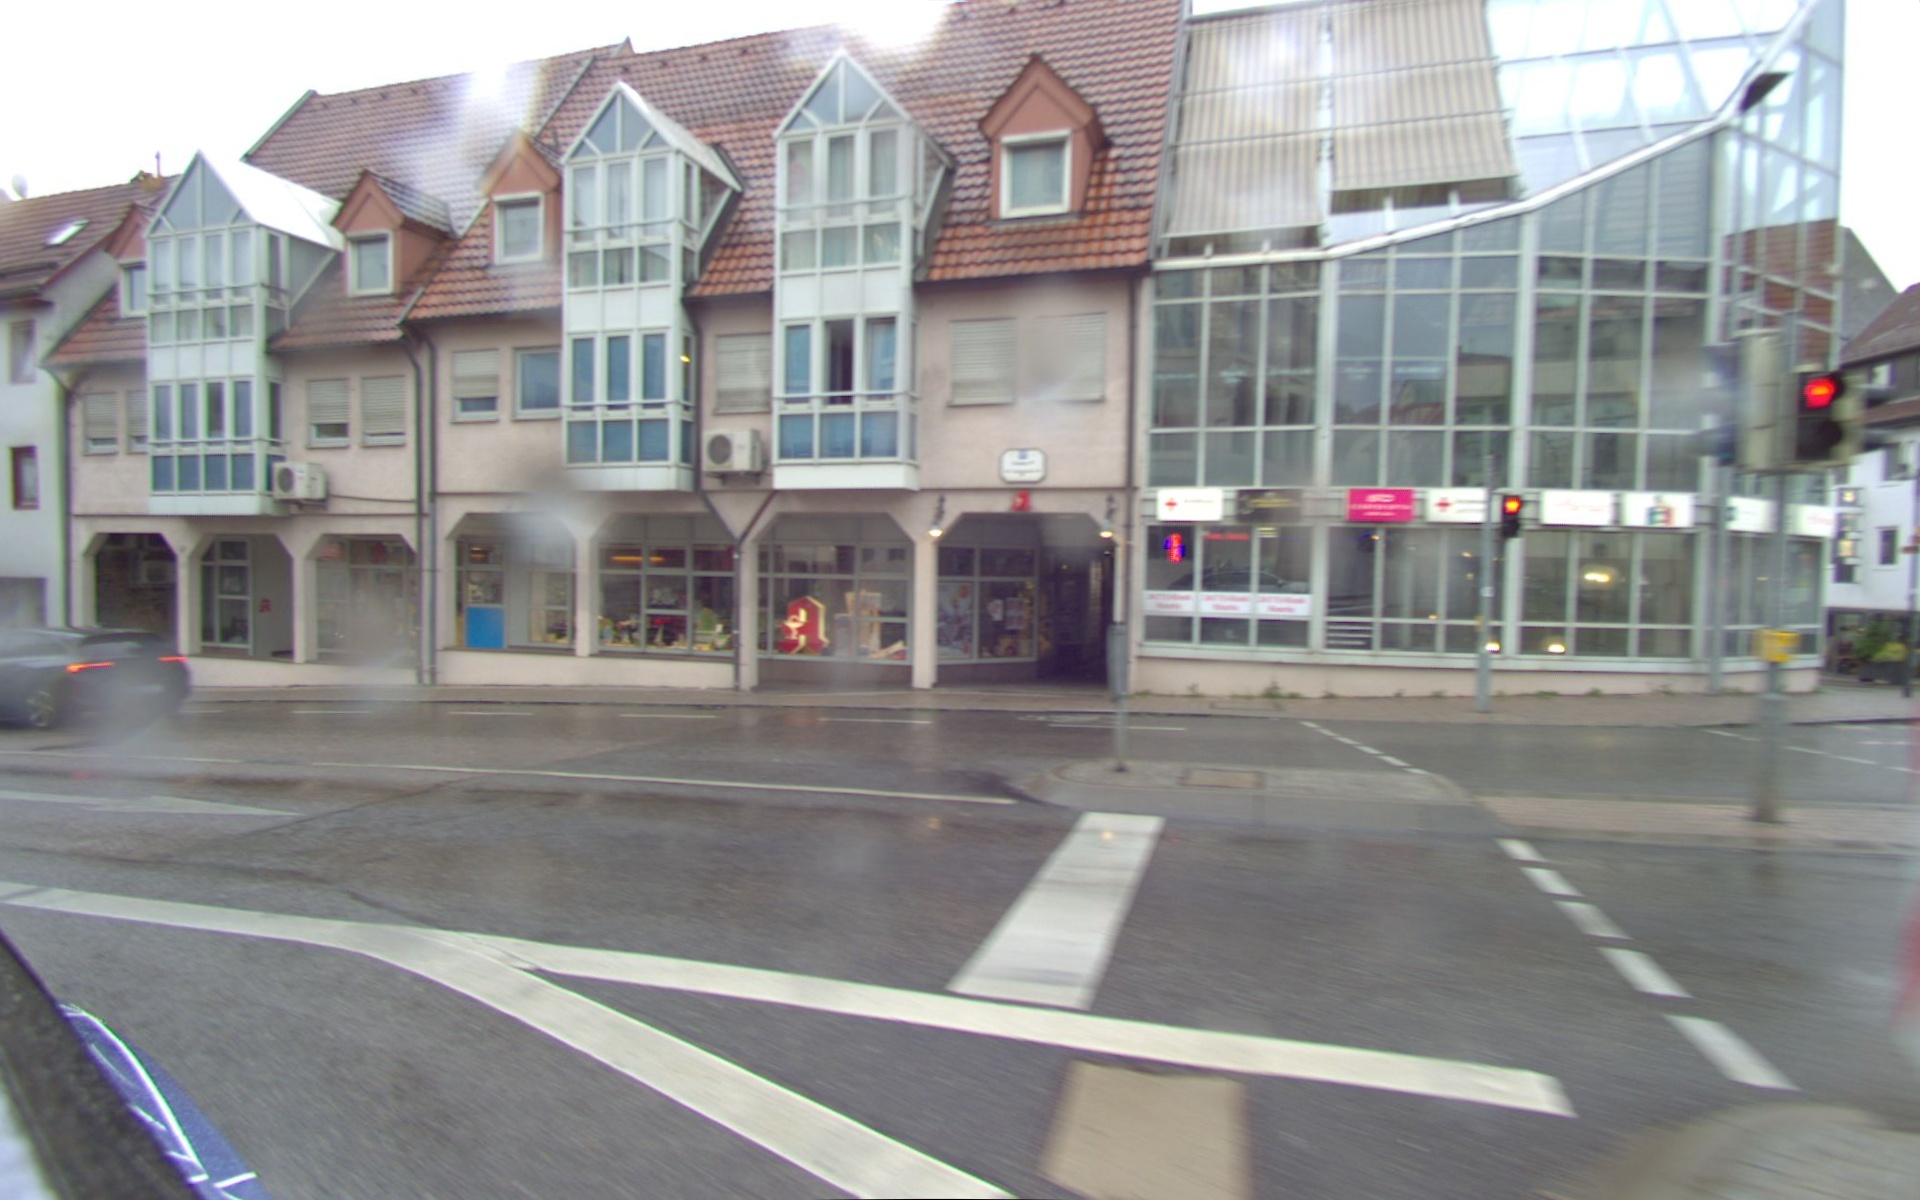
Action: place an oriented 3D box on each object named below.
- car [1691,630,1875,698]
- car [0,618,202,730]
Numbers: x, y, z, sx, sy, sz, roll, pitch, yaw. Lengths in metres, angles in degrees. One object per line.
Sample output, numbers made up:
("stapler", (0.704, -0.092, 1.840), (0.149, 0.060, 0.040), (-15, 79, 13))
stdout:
("car", (20.623, 1.560, 25.566), (1.722, 1.518, 3.679), (-1, -1, 3))
("car", (-13.591, 1.078, 14.963), (3.966, 1.478, 1.882), (-2, -1, 18))
